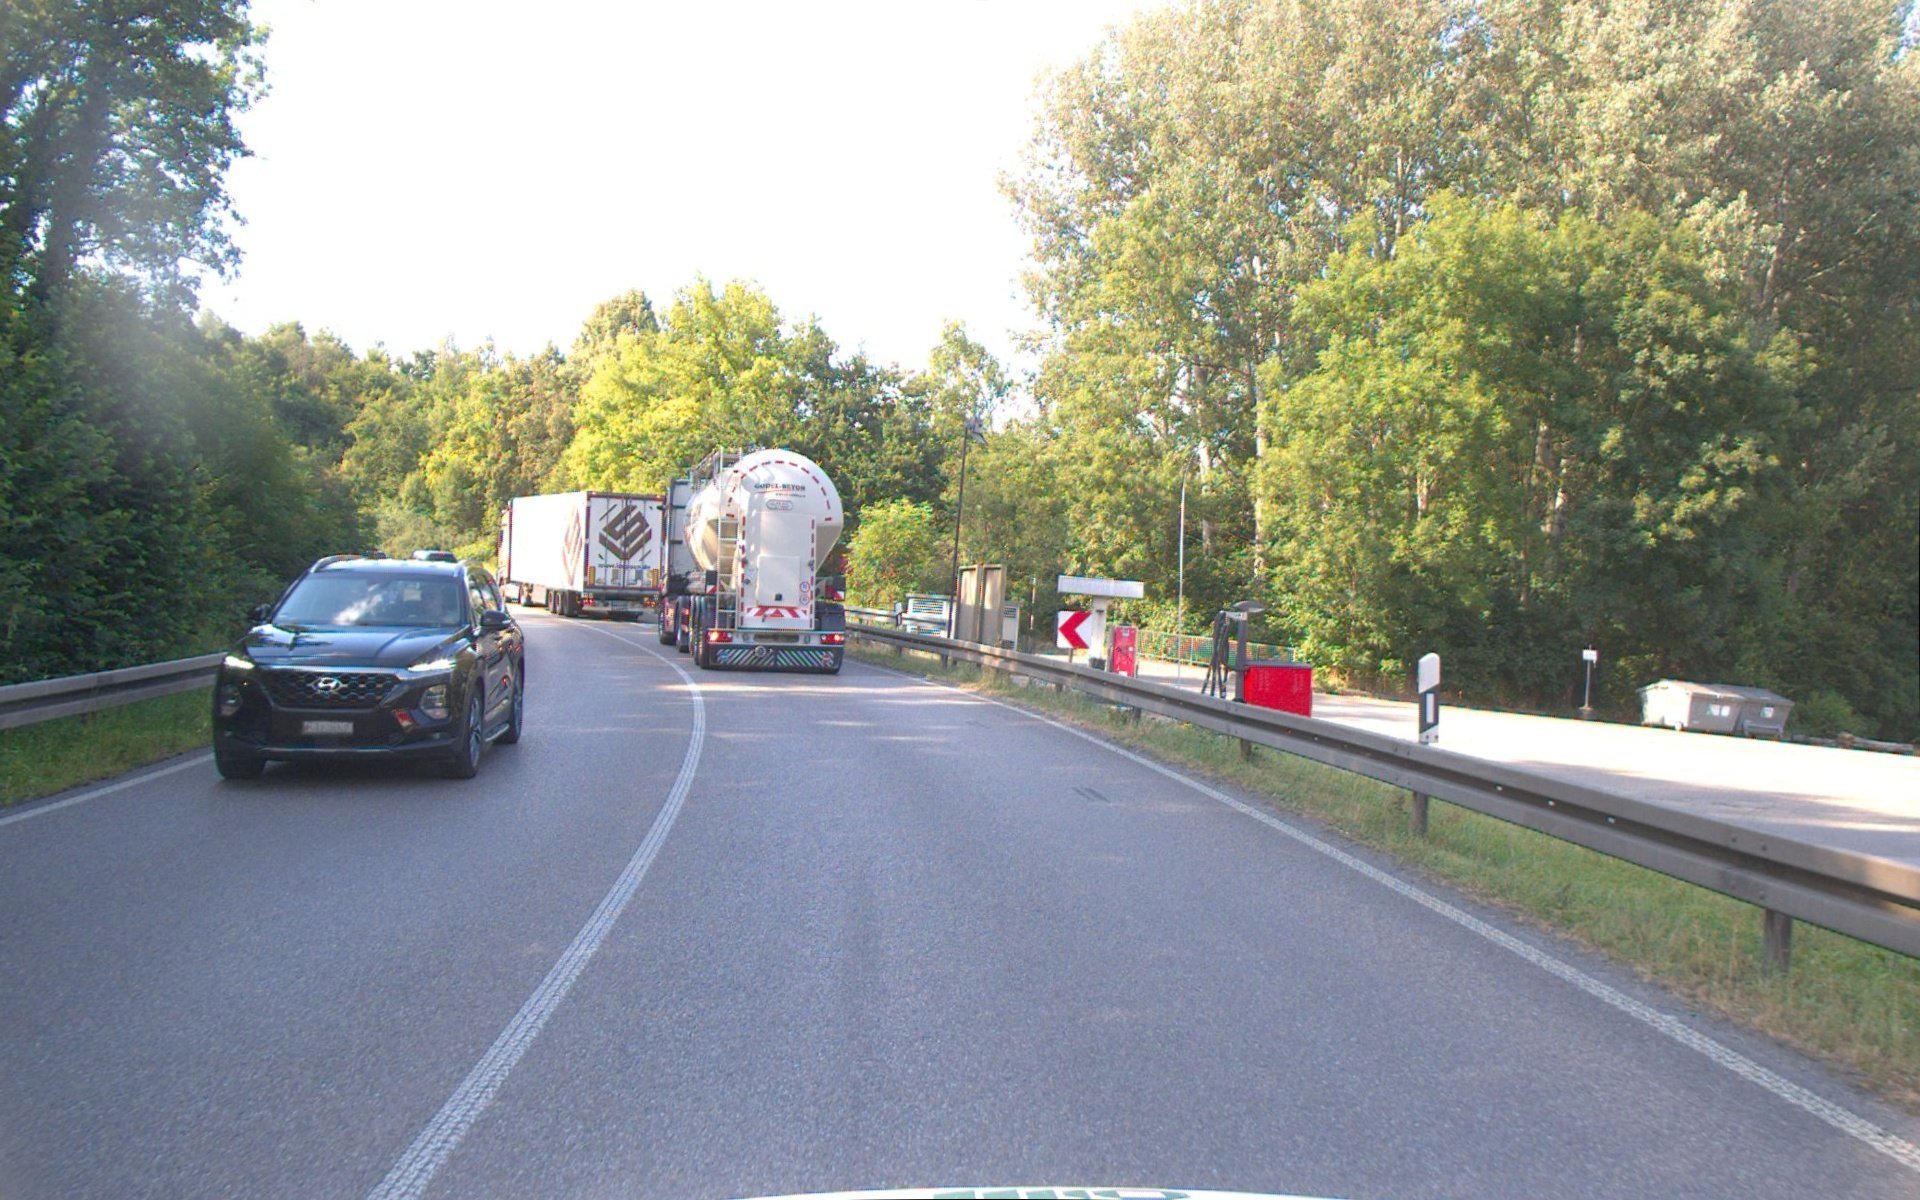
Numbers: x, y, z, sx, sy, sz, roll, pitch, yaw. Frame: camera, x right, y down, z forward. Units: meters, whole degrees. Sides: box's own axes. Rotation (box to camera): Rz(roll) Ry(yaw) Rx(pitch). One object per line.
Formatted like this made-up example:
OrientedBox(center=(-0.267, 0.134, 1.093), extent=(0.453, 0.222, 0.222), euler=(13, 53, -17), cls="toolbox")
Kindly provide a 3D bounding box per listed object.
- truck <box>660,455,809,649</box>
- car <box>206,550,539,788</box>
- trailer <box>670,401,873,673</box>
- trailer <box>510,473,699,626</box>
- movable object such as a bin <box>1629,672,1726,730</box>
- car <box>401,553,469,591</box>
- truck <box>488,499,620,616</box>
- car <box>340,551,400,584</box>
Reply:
OrientedBox(center=(-5.361, -1.057, 38.452), extent=(2.776, 4.105, 5.873), euler=(1, 0, -14), cls="truck")
OrientedBox(center=(-4.761, 0.459, 14.076), extent=(1.833, 1.682, 4.540), euler=(1, 1, -9), cls="car")
OrientedBox(center=(-4.009, -1.100, 32.810), extent=(2.837, 4.532, 9.574), euler=(2, 0, -13), cls="trailer")
OrientedBox(center=(-12.721, -1.695, 57.865), extent=(3.501, 4.591, 12.882), euler=(3, 0, -25), cls="trailer")
OrientedBox(center=(21.552, 3.020, 49.738), extent=(1.246, 1.444, 2.545), euler=(6, -1, -17), cls="movable object such as a bin")
OrientedBox(center=(-25.339, -1.367, 79.754), extent=(1.854, 1.656, 3.947), euler=(4, 0, -38), cls="car")
OrientedBox(center=(-15.941, -1.629, 64.624), extent=(3.410, 4.157, 6.433), euler=(3, 0, -27), cls="truck")
OrientedBox(center=(-31.206, -1.733, 87.424), extent=(1.854, 1.592, 3.948), euler=(1, 2, -37), cls="car")
